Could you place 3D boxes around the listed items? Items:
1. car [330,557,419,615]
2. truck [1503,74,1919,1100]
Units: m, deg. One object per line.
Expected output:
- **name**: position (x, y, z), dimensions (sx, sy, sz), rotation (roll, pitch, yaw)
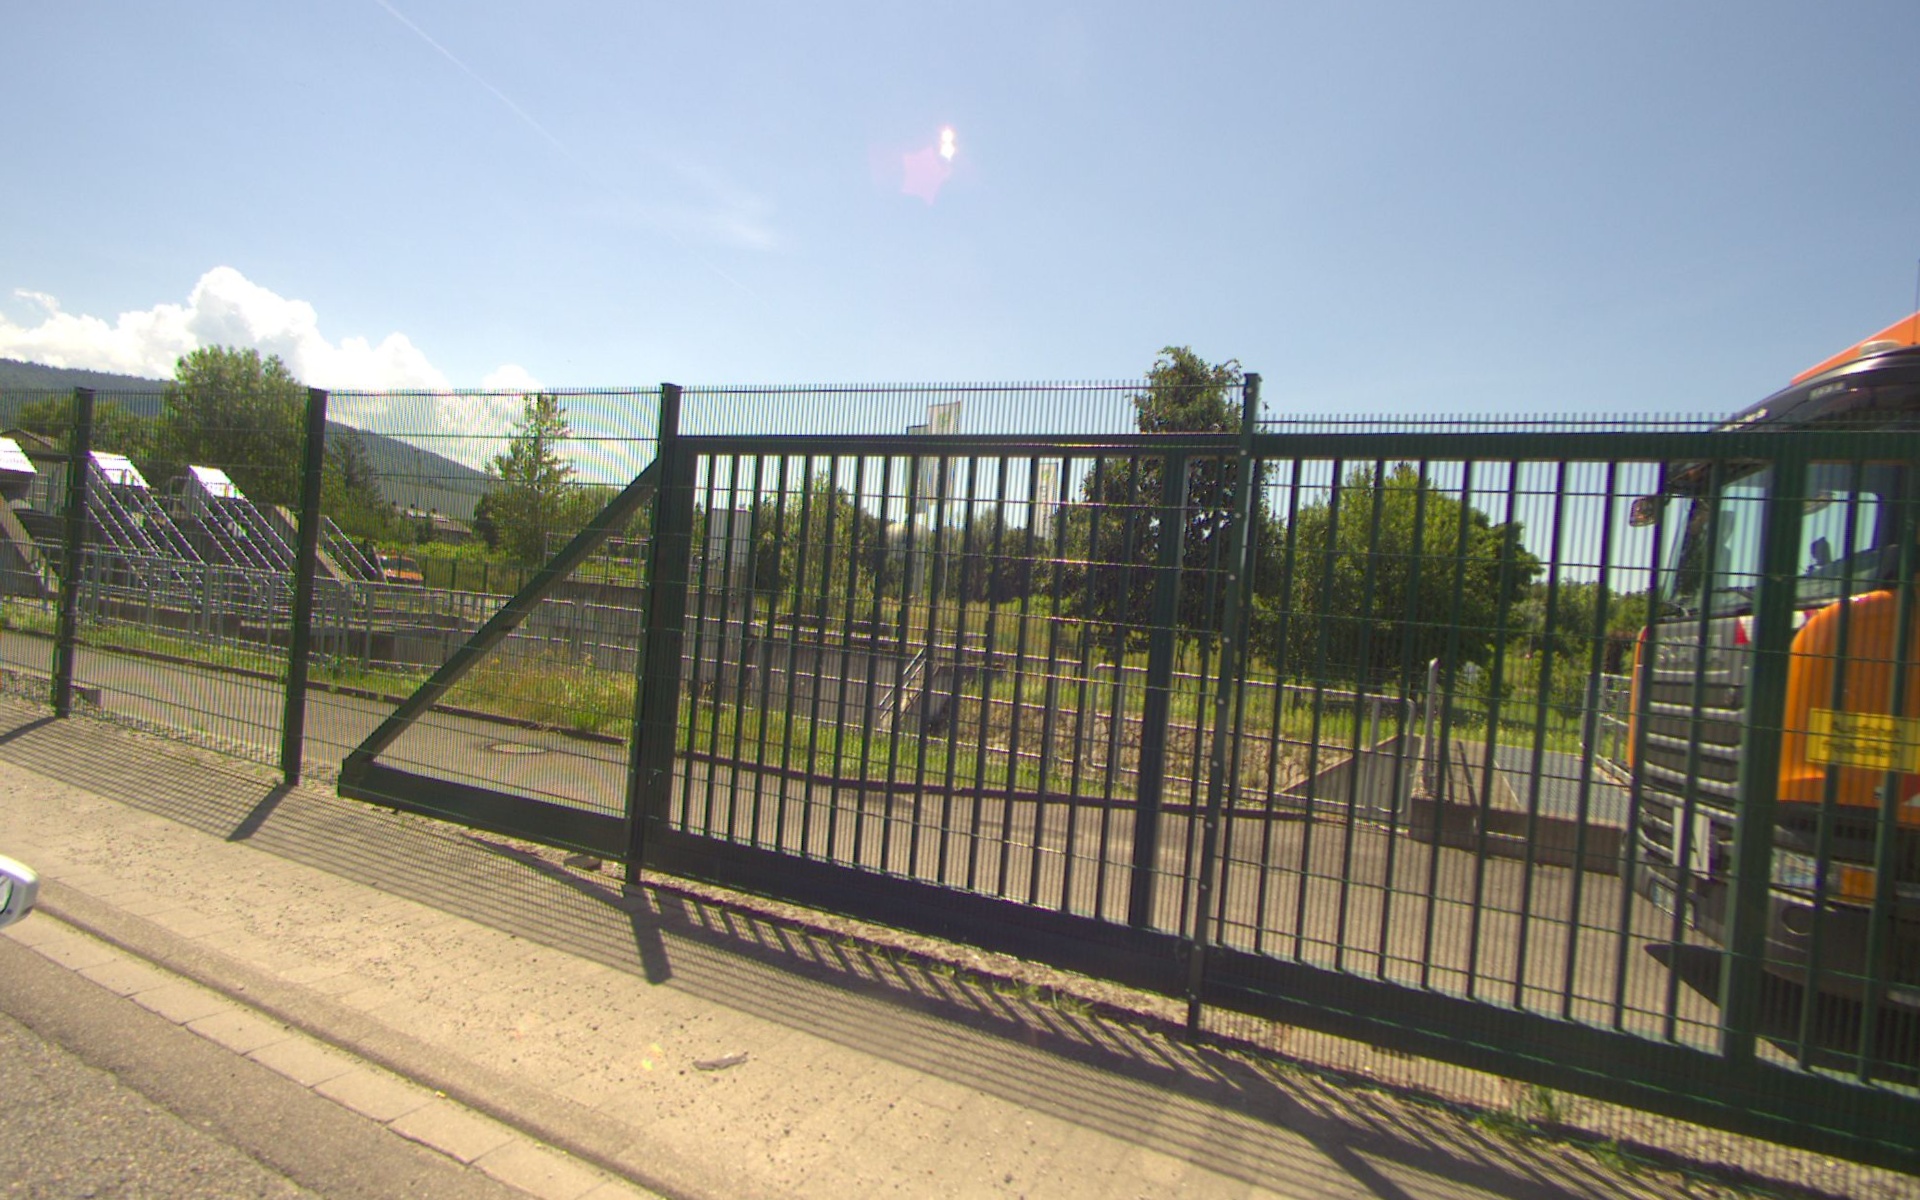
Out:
- **car**: position (-25.840, -0.632, 44.328), dimensions (4.857, 2.045, 1.989), rotation (6, -1, 44)
- **truck**: position (7.834, 0.317, 4.631), dimensions (8.449, 3.854, 4.164), rotation (5, 0, 18)
